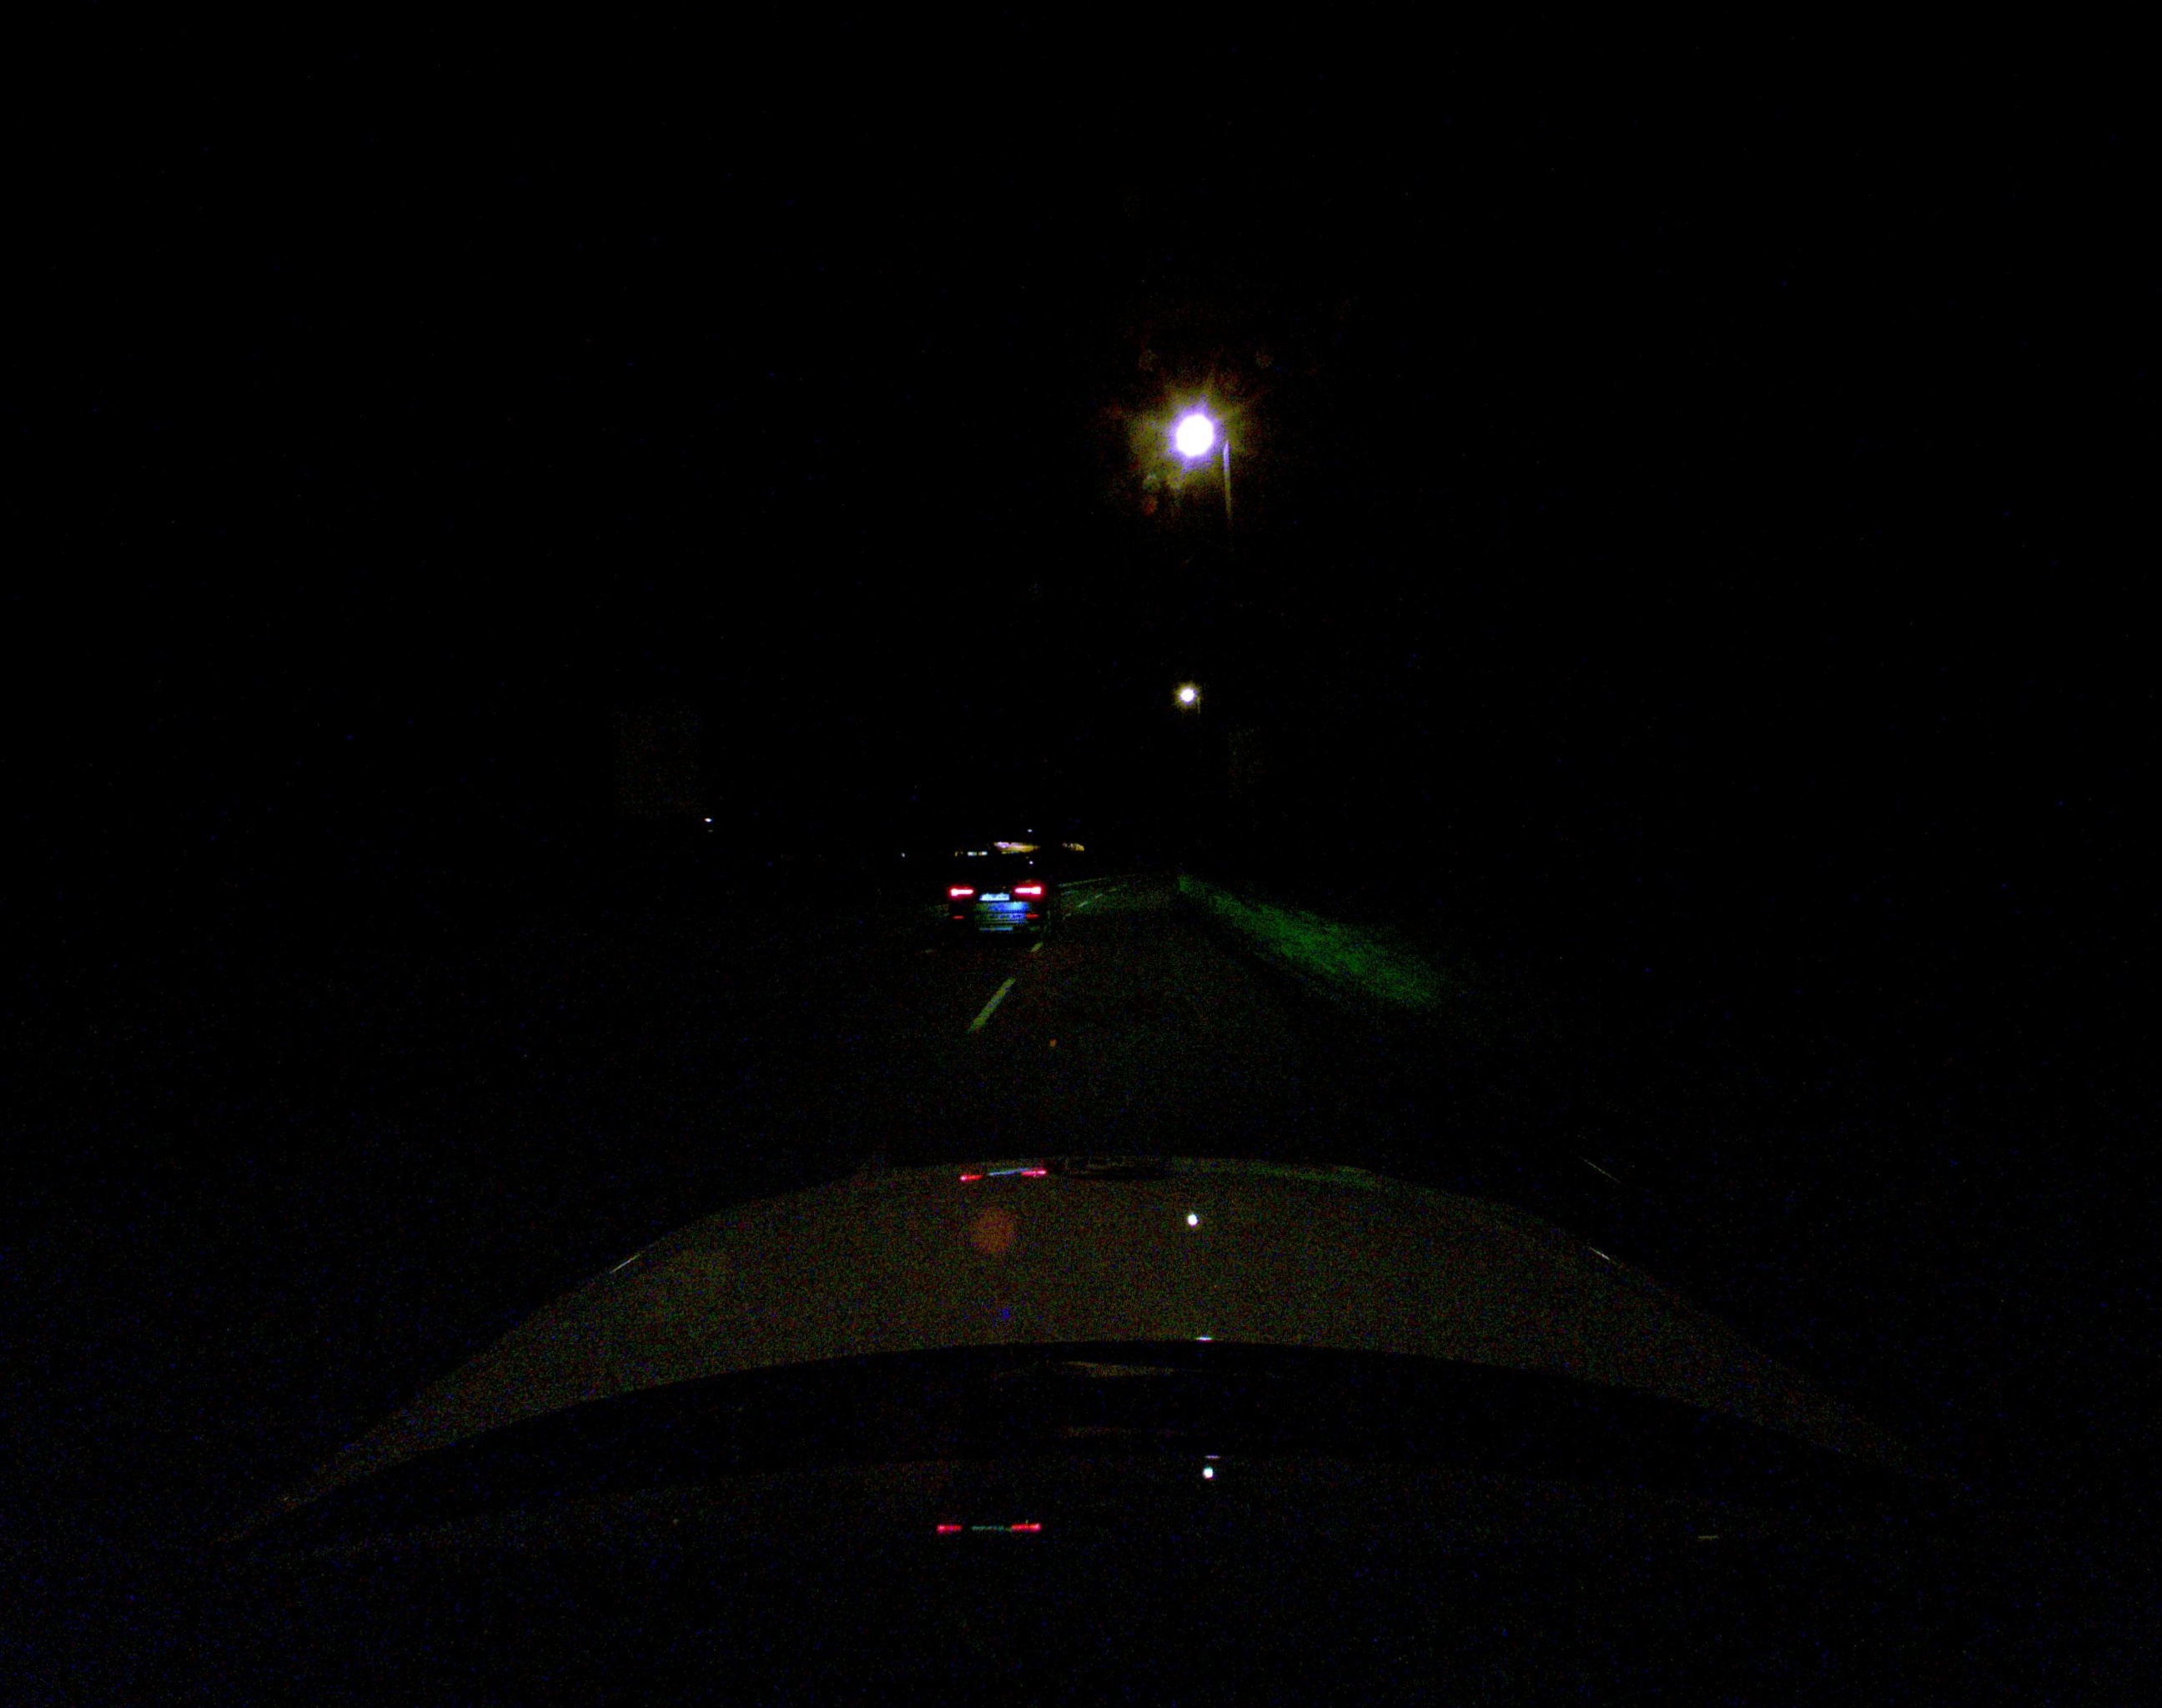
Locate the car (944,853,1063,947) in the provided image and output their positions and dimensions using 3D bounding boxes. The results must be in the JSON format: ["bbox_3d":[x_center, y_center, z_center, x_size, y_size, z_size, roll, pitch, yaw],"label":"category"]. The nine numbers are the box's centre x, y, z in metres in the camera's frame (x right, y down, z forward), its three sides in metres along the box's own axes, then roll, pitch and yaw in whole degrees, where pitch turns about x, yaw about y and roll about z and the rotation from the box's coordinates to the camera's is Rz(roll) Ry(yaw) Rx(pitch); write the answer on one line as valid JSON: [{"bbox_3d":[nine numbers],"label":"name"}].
[{"bbox_3d":[-1.385,0.800,16.106,1.845,1.582,4.008,-1,0,1],"label":"car"}]
